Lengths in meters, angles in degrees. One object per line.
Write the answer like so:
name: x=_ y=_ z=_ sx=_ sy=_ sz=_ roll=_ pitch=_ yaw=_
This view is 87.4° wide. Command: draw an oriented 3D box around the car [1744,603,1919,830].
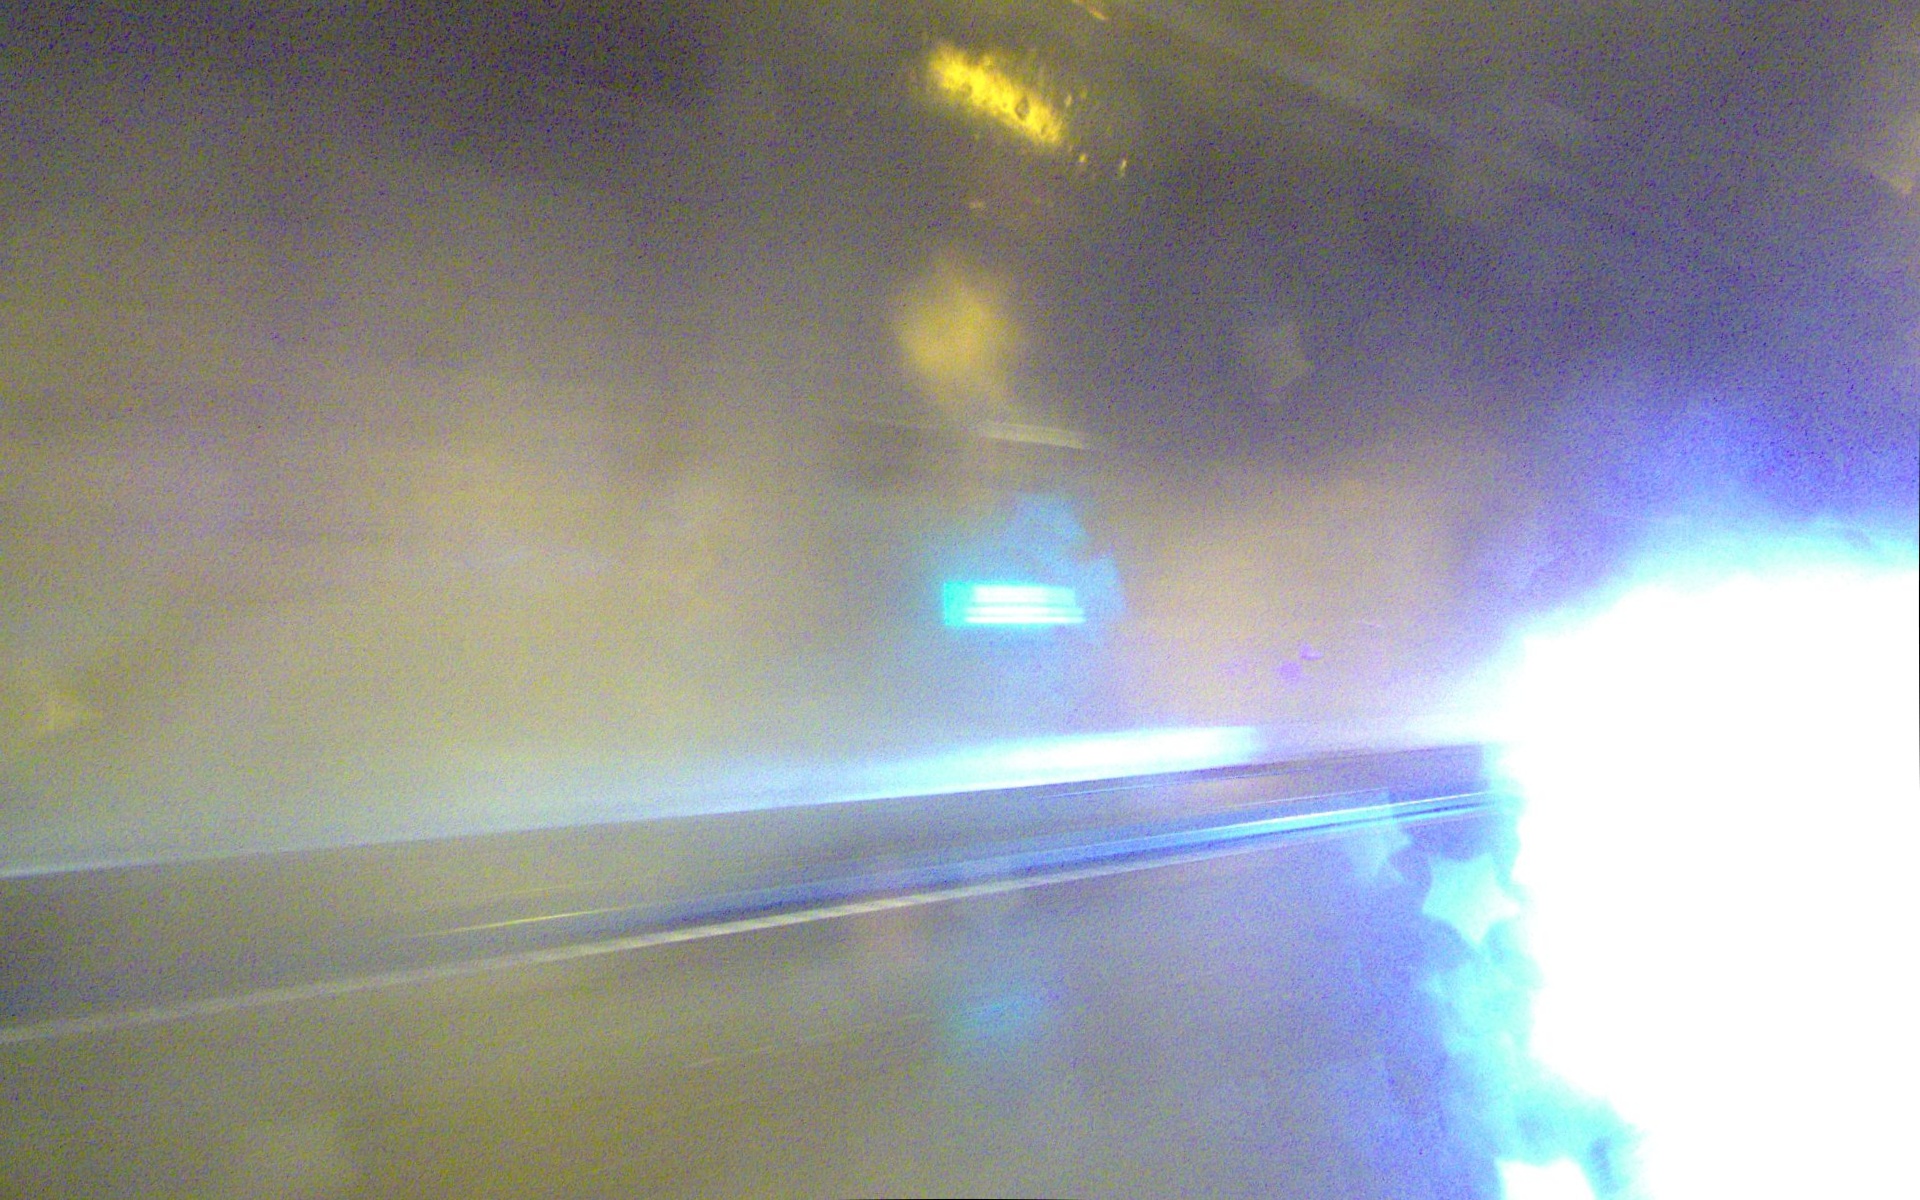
car: x=8.251 y=0.849 z=8.140 sx=4.090 sy=1.538 sz=1.613 roll=1 pitch=1 yaw=-31
